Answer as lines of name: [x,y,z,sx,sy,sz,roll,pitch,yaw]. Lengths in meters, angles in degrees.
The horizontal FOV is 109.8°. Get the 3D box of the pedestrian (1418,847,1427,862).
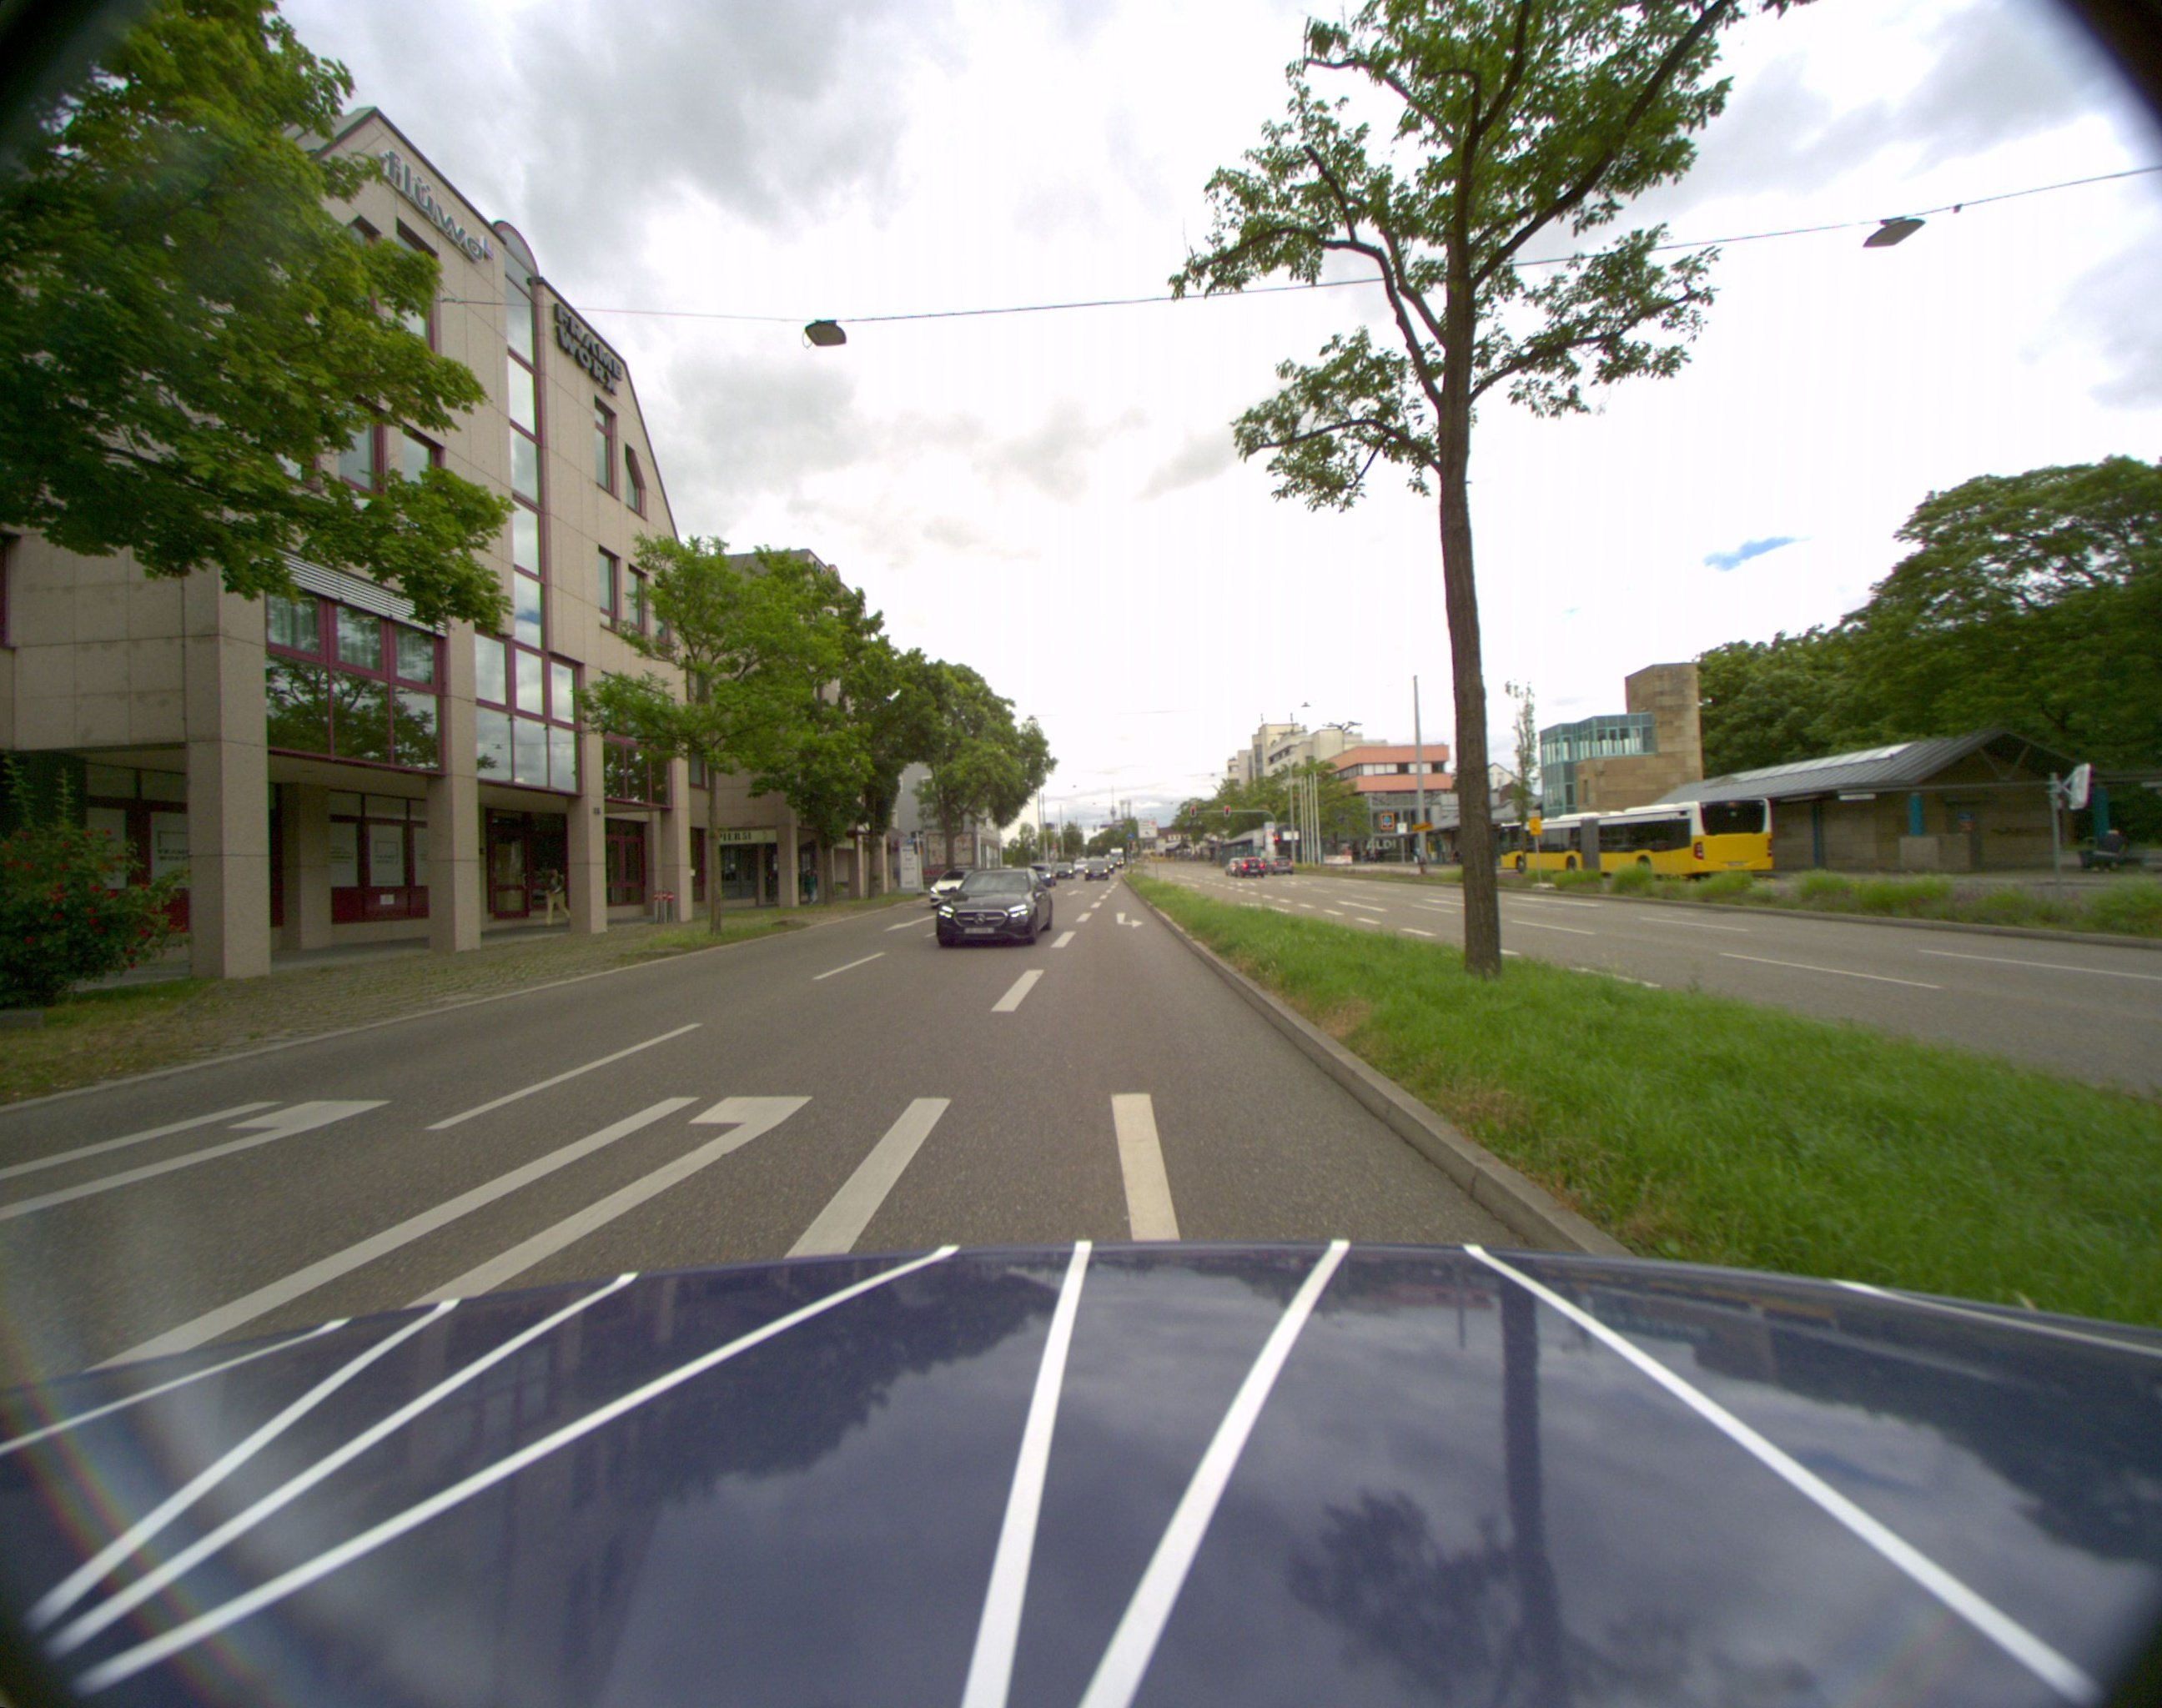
pedestrian: [33.590,0.018,74.788,0.591,1.452,0.993,-2,0,16]

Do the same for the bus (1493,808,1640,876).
bus: [25.920,-0.543,41.284,2.781,3.113,9.444,-4,-1,7]

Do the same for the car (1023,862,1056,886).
car: [-2.592,1.236,48.078,1.972,1.430,4.311,0,0,-2]

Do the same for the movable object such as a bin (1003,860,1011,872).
movable object such as a bin: [-6.937,1.092,71.015,0.610,1.097,0.710,-2,0,3]

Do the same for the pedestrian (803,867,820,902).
pedestrian: [-12.183,1.374,34.346,0.562,1.541,0.544,0,0,4]

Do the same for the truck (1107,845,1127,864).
truck: [6.434,0.154,137.918,3.119,3.208,6.524,-2,0,-1]

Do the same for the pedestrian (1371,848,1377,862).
pedestrian: [32.371,0.120,83.934,0.485,1.539,0.383,-2,0,-8]

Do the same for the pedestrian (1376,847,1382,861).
pedestrian: [33.100,-0.037,84.403,0.485,1.539,0.383,-2,0,-23]

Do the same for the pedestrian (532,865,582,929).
pedestrian: [-14.281,1.151,20.731,0.596,1.695,0.970,-2,0,5]

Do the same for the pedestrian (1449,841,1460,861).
pedestrian: [30.084,-0.246,61.207,0.621,1.640,0.658,-2,1,5]

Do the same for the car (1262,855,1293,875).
car: [16.212,0.863,62.830,1.819,1.499,4.001,-2,0,5]

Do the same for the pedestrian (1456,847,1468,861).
pedestrian: [30.042,0.003,59.982,0.621,1.114,0.658,-2,0,5]

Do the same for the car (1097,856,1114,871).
car: [2.585,0.968,80.572,1.763,1.531,4.048,-1,0,1]

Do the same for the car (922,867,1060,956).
car: [-1.684,1.082,16.143,2.058,1.477,4.974,-2,0,3]

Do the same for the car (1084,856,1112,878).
car: [1.310,0.981,59.364,1.972,1.630,4.311,0,0,-2]

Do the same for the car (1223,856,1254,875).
car: [13.034,0.954,62.988,1.749,1.456,3.791,-2,-1,1]

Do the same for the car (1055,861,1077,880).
car: [-1.276,1.375,65.026,1.769,1.440,4.419,-2,0,-1]

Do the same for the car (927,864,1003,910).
car: [-4.206,1.162,28.279,1.798,1.464,4.700,-2,0,3]

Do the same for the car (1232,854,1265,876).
car: [12.548,0.798,57.063,1.662,1.499,3.768,-2,0,1]

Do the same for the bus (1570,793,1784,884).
bus: [24.673,-0.559,32.324,2.815,3.113,9.306,-4,-1,9]

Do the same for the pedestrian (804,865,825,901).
pedestrian: [-12.718,1.371,36.268,0.659,1.681,0.843,0,0,4]

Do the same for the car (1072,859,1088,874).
car: [-0.108,1.434,87.941,1.763,1.625,4.156,-1,0,1]

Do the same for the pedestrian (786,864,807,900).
pedestrian: [-13.549,1.308,36.205,0.659,1.681,0.843,0,0,4]

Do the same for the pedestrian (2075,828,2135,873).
pedestrian: [29.389,-0.106,21.814,0.859,1.247,0.894,-2,0,-28]

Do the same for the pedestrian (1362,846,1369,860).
pedestrian: [31.505,-0.089,84.146,0.529,1.539,0.754,-2,0,16]
